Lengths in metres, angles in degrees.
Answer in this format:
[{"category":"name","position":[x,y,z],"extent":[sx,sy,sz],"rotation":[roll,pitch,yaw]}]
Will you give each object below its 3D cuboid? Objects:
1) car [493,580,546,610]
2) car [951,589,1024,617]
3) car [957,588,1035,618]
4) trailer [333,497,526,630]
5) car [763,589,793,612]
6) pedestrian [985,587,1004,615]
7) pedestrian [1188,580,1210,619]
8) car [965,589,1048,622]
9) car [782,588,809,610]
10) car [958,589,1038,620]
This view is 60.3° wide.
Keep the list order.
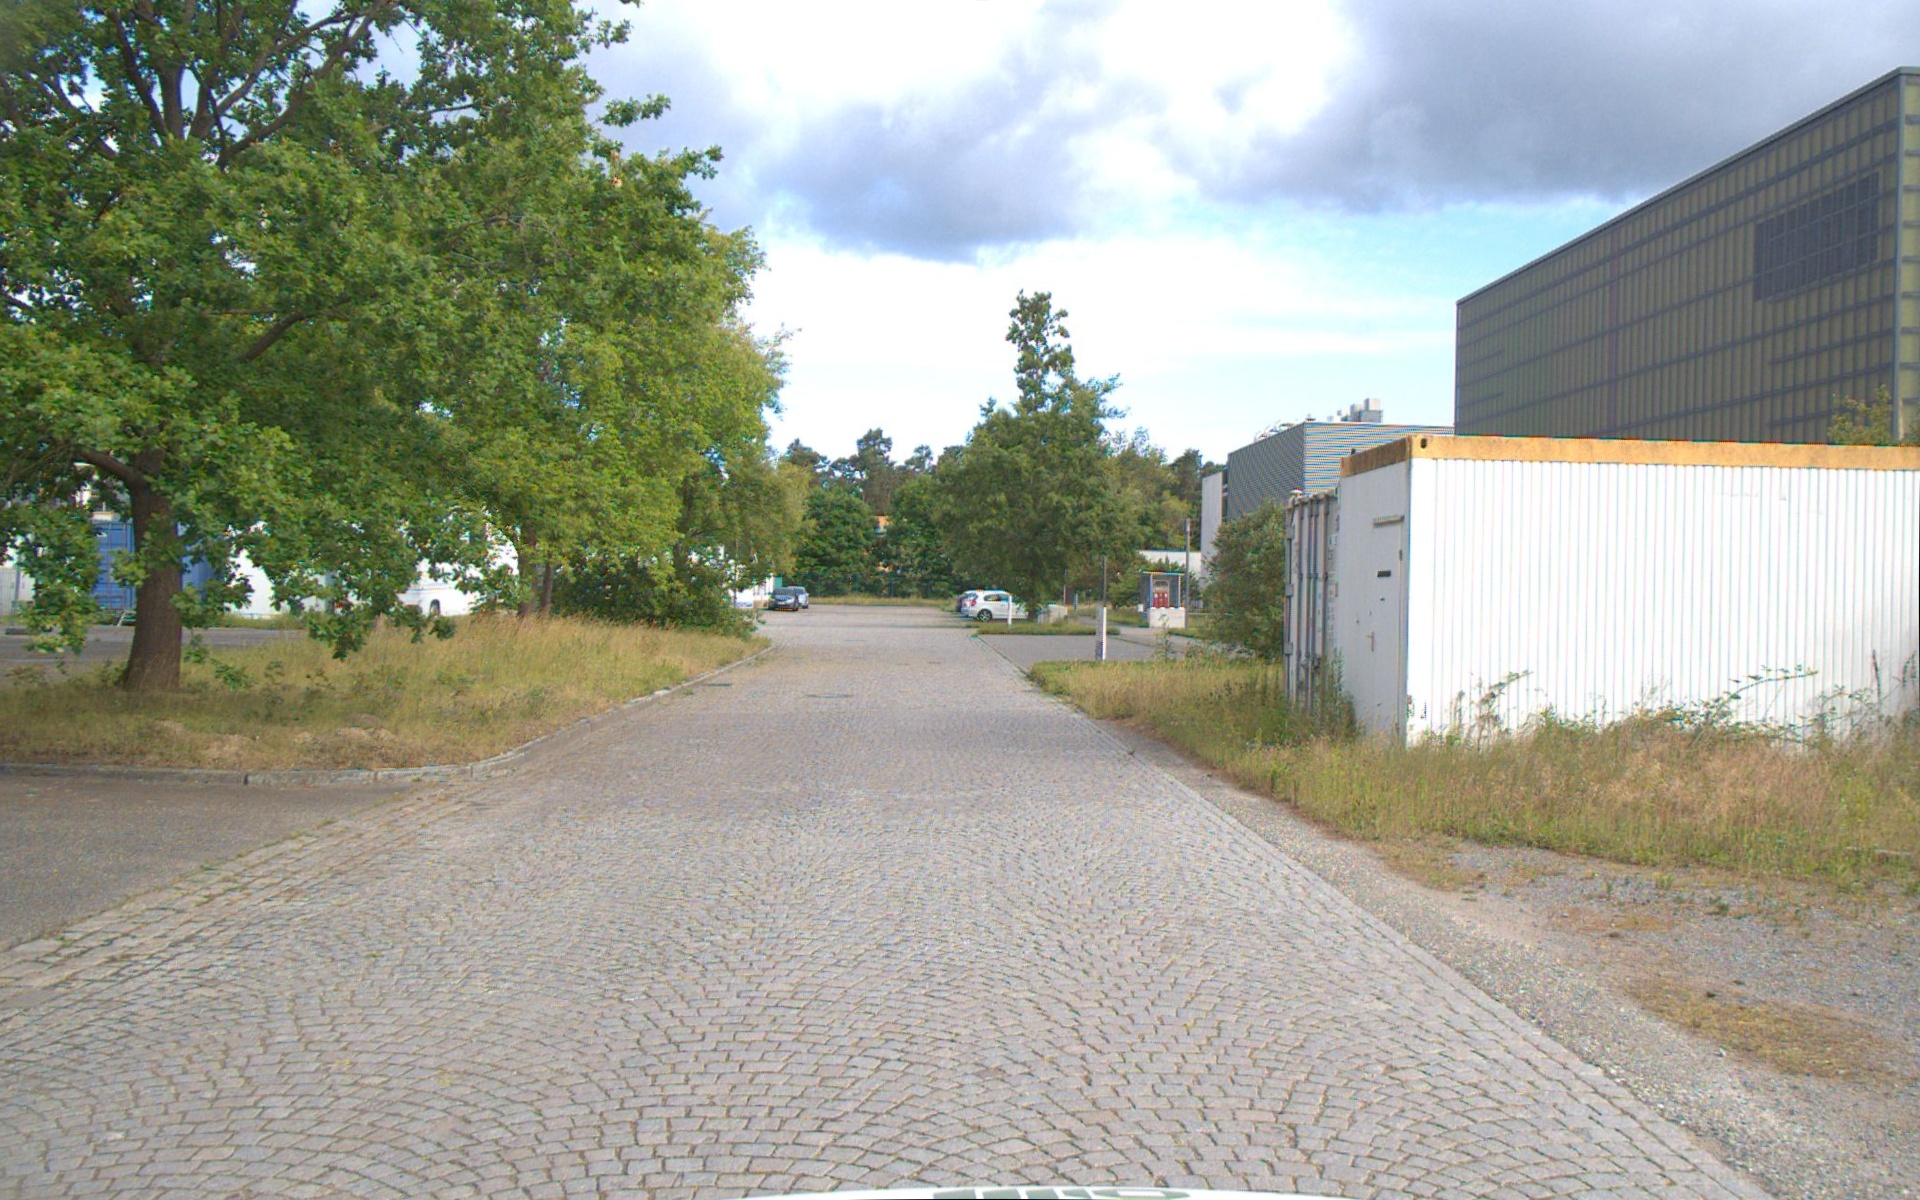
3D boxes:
[{"category":"car","position":[-24.096,-0.280,90.543],"extent":[1.862,1.602,3.999],"rotation":[1,0,-1]},{"category":"car","position":[1.487,0.166,90.600],"extent":[3.906,1.481,1.769],"rotation":[1,0,-2]},{"category":"car","position":[1.842,0.164,85.709],"extent":[3.906,1.481,1.769],"rotation":[1,0,-2]},{"category":"trailer","position":[-16.571,-1.079,52.623],"extent":[2.602,3.770,10.721],"rotation":[1,0,0]},{"category":"car","position":[-11.436,0.002,103.919],"extent":[1.714,1.388,3.996],"rotation":[1,0,-4]},{"category":"pedestrian","position":[1.991,0.044,95.654],"extent":[0.947,1.595,0.944],"rotation":[1,0,10]},{"category":"pedestrian","position":[12.953,-0.026,89.637],"extent":[0.903,2.049,1.144],"rotation":[1,0,-8]},{"category":"car","position":[2.264,0.259,80.515],"extent":[3.906,1.481,1.999],"rotation":[1,-1,-2]},{"category":"car","position":[-11.355,-0.054,114.174],"extent":[1.714,1.480,3.996],"rotation":[1,0,-4]},{"category":"car","position":[1.896,0.208,82.669],"extent":[3.906,1.481,1.697],"rotation":[1,0,-2]}]
